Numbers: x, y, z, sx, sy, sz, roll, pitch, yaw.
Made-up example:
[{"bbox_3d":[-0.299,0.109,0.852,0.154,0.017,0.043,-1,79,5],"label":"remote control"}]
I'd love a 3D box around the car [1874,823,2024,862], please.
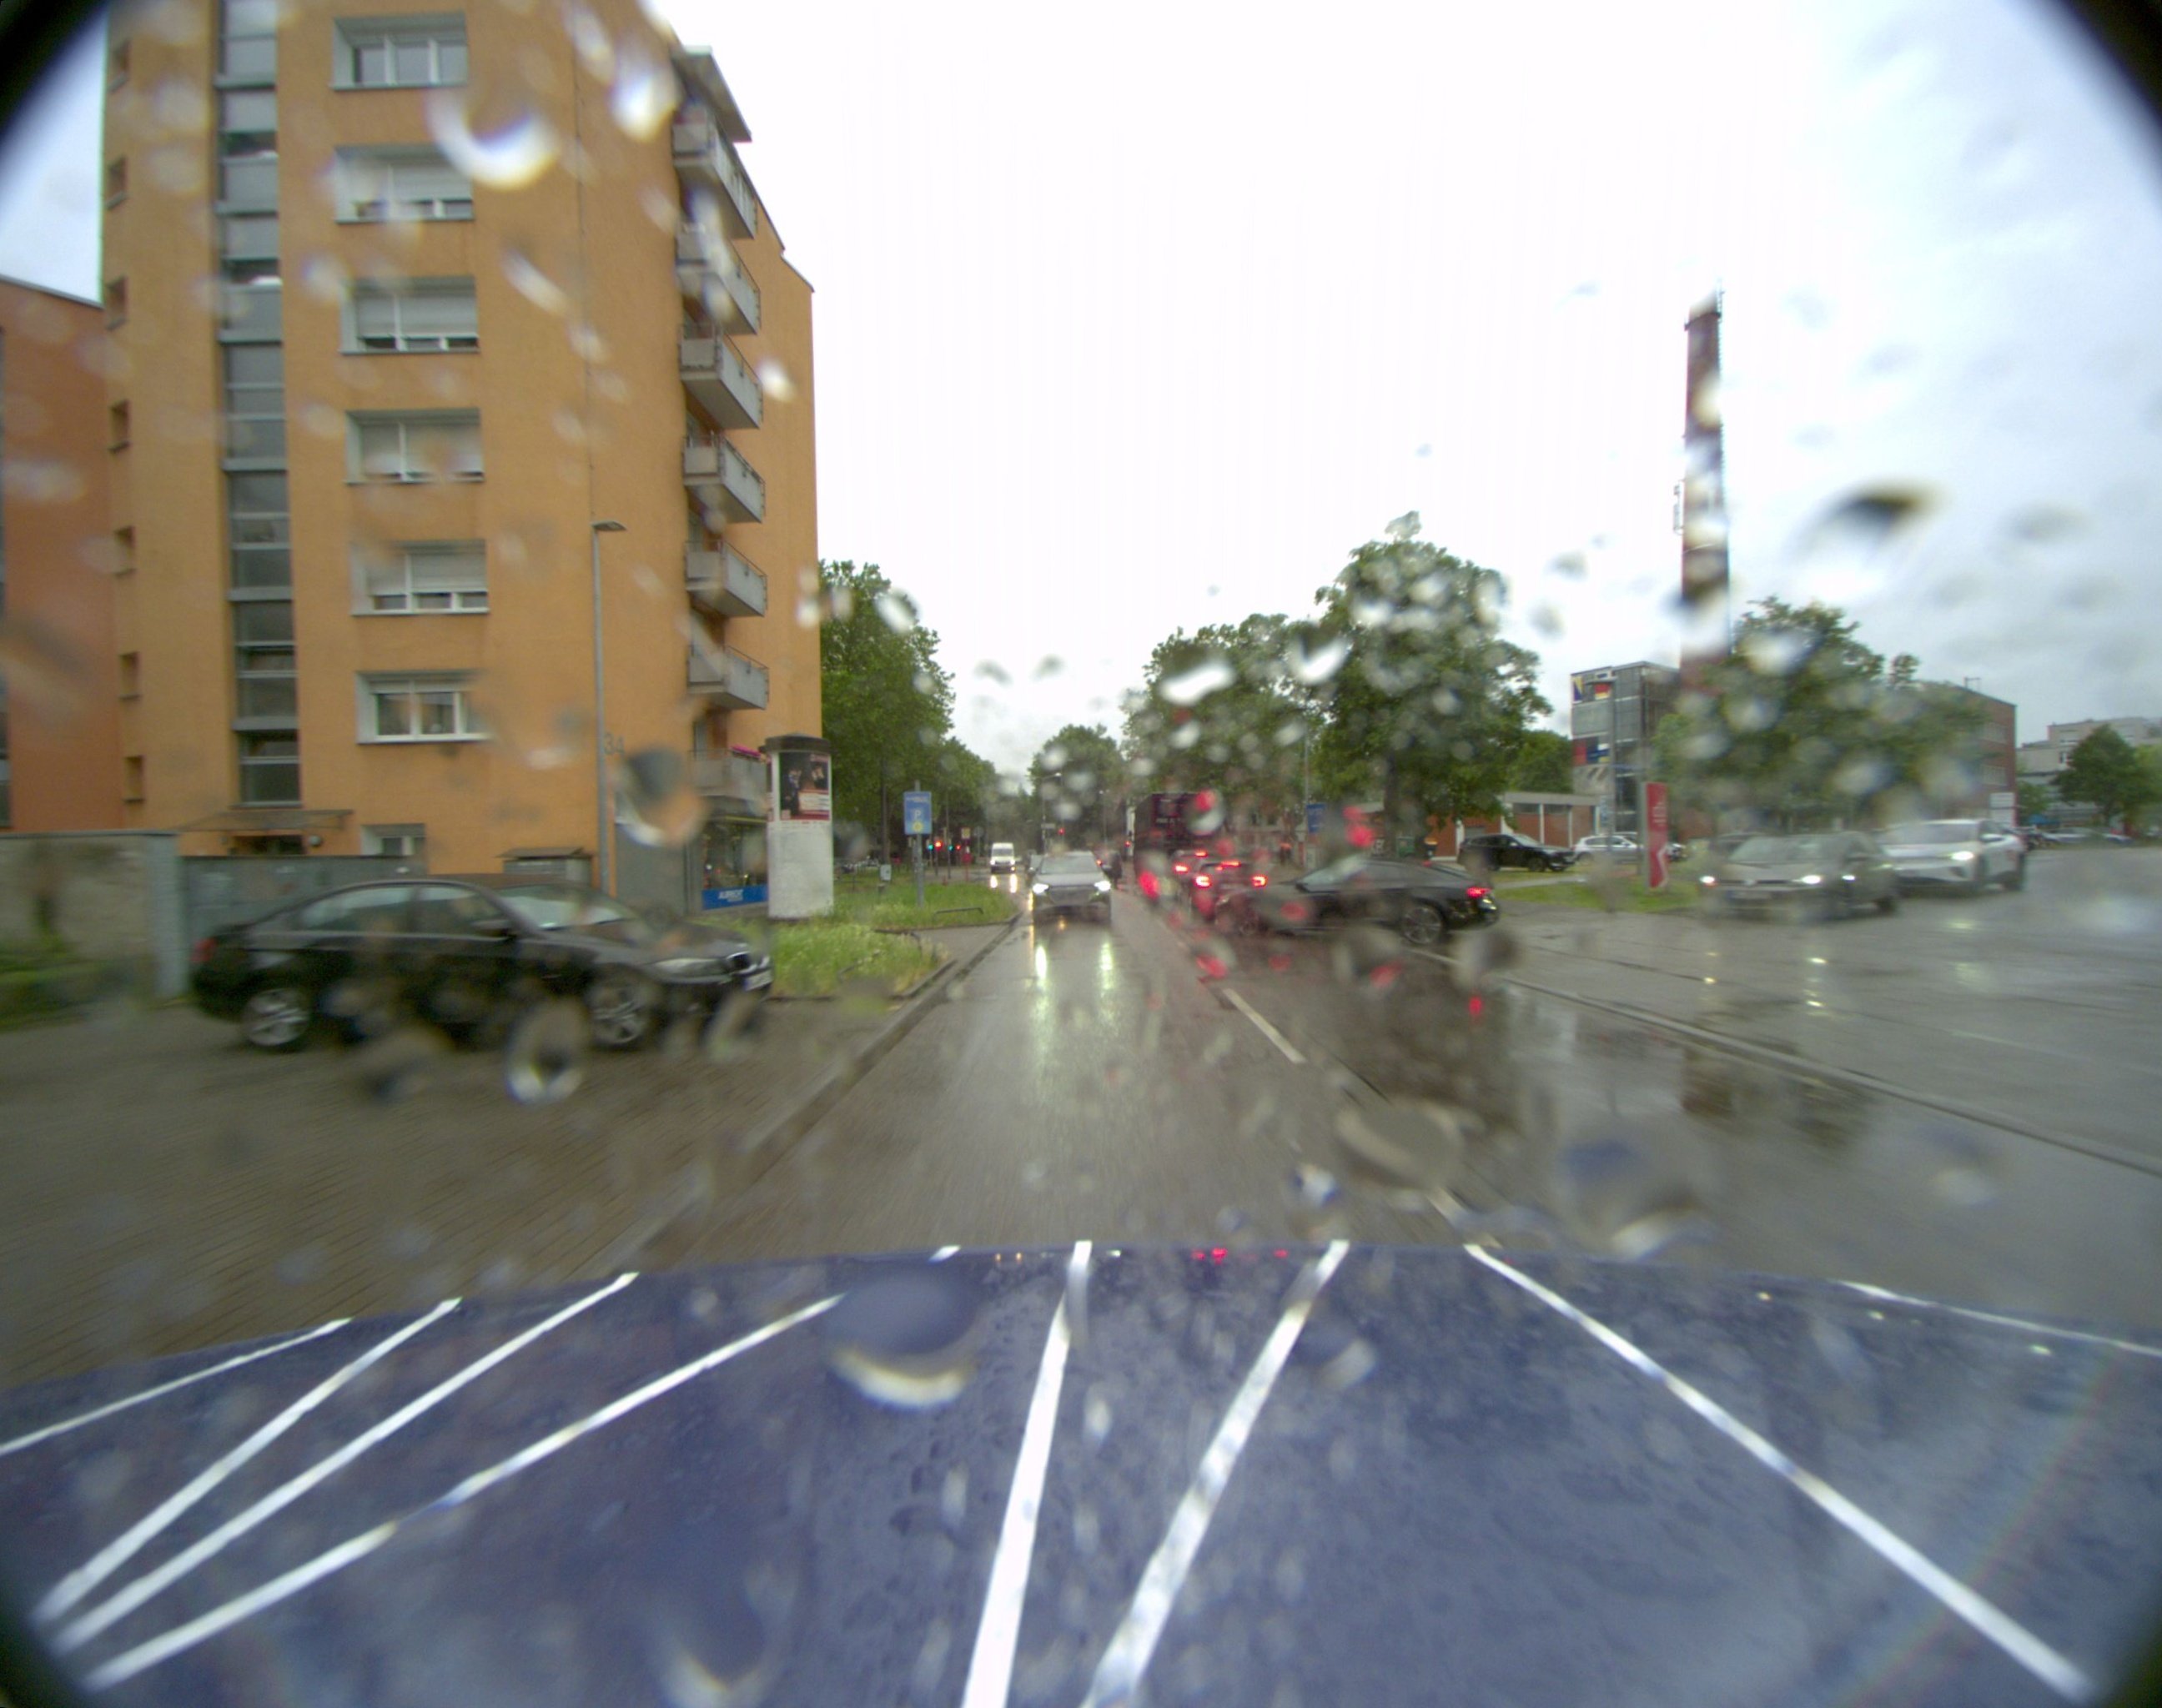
[{"bbox_3d":[42.096,-0.513,36.951,2.003,1.726,4.576,-2,0,-34],"label":"car"}]

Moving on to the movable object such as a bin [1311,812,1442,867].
[{"bbox_3d":[17.302,-0.831,44.922,6.767,2.913,2.777,-2,0,11],"label":"movable object such as a bin"}]

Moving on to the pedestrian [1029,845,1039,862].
[{"bbox_3d":[-4.464,-0.070,71.928,0.864,1.572,0.642,-1,0,-16],"label":"pedestrian"}]

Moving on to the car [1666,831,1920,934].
[{"bbox_3d":[12.433,0.402,13.222,4.346,1.387,2.008,-3,1,-30],"label":"car"}]

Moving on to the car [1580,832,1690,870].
[{"bbox_3d":[27.913,-0.103,38.435,2.003,1.781,3.992,-1,-1,-28],"label":"car"}]

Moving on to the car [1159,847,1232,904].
[{"bbox_3d":[3.785,0.656,25.887,1.872,1.610,4.801,-1,2,2],"label":"car"}]

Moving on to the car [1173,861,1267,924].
[{"bbox_3d":[3.367,0.881,19.107,1.730,1.353,4.338,-1,0,2],"label":"car"}]

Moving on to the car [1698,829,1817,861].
[{"bbox_3d":[39.934,-0.526,44.970,2.173,1.731,4.795,-2,0,-29],"label":"car"}]

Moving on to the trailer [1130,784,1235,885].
[{"bbox_3d":[4.603,-0.790,38.255,3.451,4.025,15.050,-1,0,1],"label":"trailer"}]

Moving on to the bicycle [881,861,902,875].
[{"bbox_3d":[-15.203,1.085,60.976,1.621,1.070,0.445,-2,1,-24],"label":"bicycle"}]

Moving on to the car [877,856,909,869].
[{"bbox_3d":[-23.389,1.036,94.613,3.459,1.516,1.841,-2,0,-3],"label":"car"}]

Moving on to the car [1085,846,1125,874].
[{"bbox_3d":[1.589,0.445,52.763,2.080,1.672,4.928,-4,-1,-5],"label":"car"}]

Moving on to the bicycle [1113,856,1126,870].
[{"bbox_3d":[2.939,0.661,58.076,0.533,1.018,1.872,-1,0,-12],"label":"bicycle"}]

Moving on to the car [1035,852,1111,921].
[{"bbox_3d":[-0.147,0.777,20.187,1.809,1.611,4.137,0,1,1],"label":"car"}]

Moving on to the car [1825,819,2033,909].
[{"bbox_3d":[18.522,0.141,16.564,4.655,1.697,2.041,-2,1,-29],"label":"car"}]

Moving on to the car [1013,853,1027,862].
[{"bbox_3d":[-10.544,0.600,130.723,1.821,1.451,4.273,-2,0,3],"label":"car"}]

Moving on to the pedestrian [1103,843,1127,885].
[{"bbox_3d":[1.539,0.457,33.953,0.870,1.833,0.993,-1,0,14],"label":"pedestrian"}]

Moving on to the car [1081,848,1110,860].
[{"bbox_3d":[2.367,0.047,125.495,4.668,1.863,2.034,-1,0,2],"label":"car"}]

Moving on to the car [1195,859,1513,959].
[{"bbox_3d":[4.723,0.857,13.396,4.915,1.445,2.090,-1,0,33],"label":"car"}]

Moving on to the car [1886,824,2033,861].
[{"bbox_3d":[43.945,-0.544,38.122,2.003,1.726,4.576,-2,0,-34],"label":"car"}]

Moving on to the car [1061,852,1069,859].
[{"bbox_3d":[-4.252,0.432,204.552,1.999,1.795,4.349,-2,0,-2],"label":"car"}]

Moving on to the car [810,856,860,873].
[{"bbox_3d":[-23.186,1.004,71.866,4.177,1.452,1.993,-2,0,-8],"label":"car"}]

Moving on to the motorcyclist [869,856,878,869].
[{"bbox_3d":[-21.743,0.934,79.654,0.754,1.343,0.757,-2,0,-6],"label":"motorcyclist"}]

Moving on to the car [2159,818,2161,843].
[{"bbox_3d":[71.533,-1.586,48.888,4.005,1.566,1.996,-2,0,-28],"label":"car"}]

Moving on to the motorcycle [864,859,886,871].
[{"bbox_3d":[-21.610,1.149,79.639,2.074,1.207,0.881,-2,0,-6],"label":"motorcycle"}]

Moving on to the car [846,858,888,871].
[{"bbox_3d":[-23.083,1.136,82.002,4.172,1.268,1.901,-2,0,-10],"label":"car"}]

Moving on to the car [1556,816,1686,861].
[{"bbox_3d":[25.957,-0.694,36.673,2.003,2.002,4.665,-2,0,-34],"label":"car"}]

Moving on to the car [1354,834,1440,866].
[{"bbox_3d":[17.386,-0.193,42.027,3.994,1.591,2.002,-2,-1,9],"label":"car"}]

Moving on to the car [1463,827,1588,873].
[{"bbox_3d":[18.344,-0.146,31.506,2.003,1.780,3.990,-1,0,-31],"label":"car"}]

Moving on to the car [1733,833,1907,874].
[{"bbox_3d":[26.998,-0.005,27.916,1.626,1.371,4.299,-1,0,-30],"label":"car"}]

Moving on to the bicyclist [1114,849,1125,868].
[{"bbox_3d":[2.935,0.338,58.112,0.581,1.452,1.010,-1,1,-12],"label":"bicyclist"}]

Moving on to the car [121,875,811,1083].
[{"bbox_3d":[-5.075,0.993,6.819,4.544,1.462,1.983,-1,1,1],"label":"car"}]

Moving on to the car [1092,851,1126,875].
[{"bbox_3d":[1.651,0.519,46.079,1.703,1.365,4.098,-2,0,-3],"label":"car"}]

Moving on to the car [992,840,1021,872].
[{"bbox_3d":[-6.463,0.150,66.015,2.283,2.547,6.508,-2,0,-5],"label":"car"}]

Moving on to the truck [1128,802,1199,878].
[{"bbox_3d":[4.735,-0.781,45.254,3.459,4.054,6.974,-2,0,1],"label":"truck"}]
